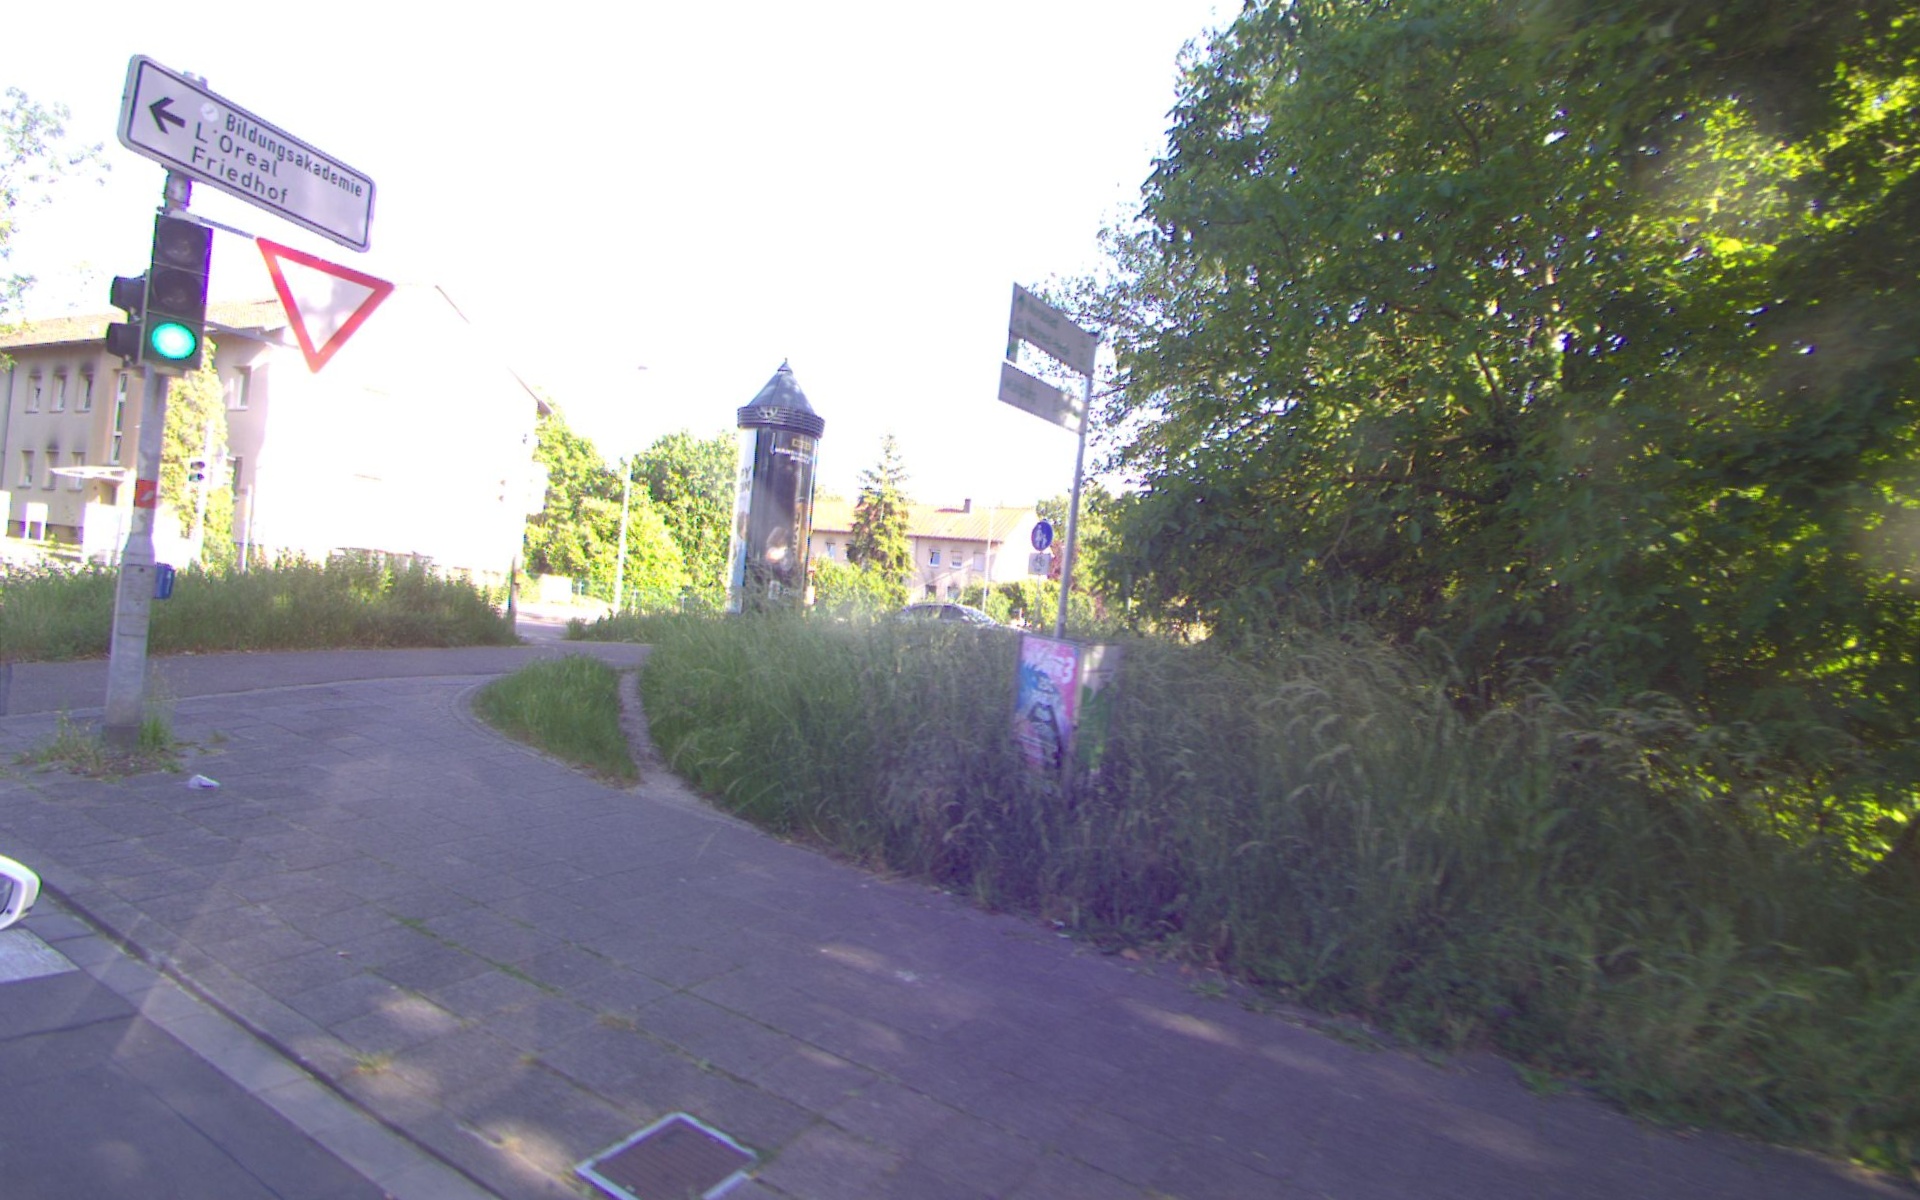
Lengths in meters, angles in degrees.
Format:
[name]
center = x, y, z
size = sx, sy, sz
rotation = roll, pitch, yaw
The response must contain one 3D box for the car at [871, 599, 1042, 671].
[car]
center = -0.112, 0.970, 28.302
size = 4.372, 1.669, 1.868
rotation = 2, -4, 28
